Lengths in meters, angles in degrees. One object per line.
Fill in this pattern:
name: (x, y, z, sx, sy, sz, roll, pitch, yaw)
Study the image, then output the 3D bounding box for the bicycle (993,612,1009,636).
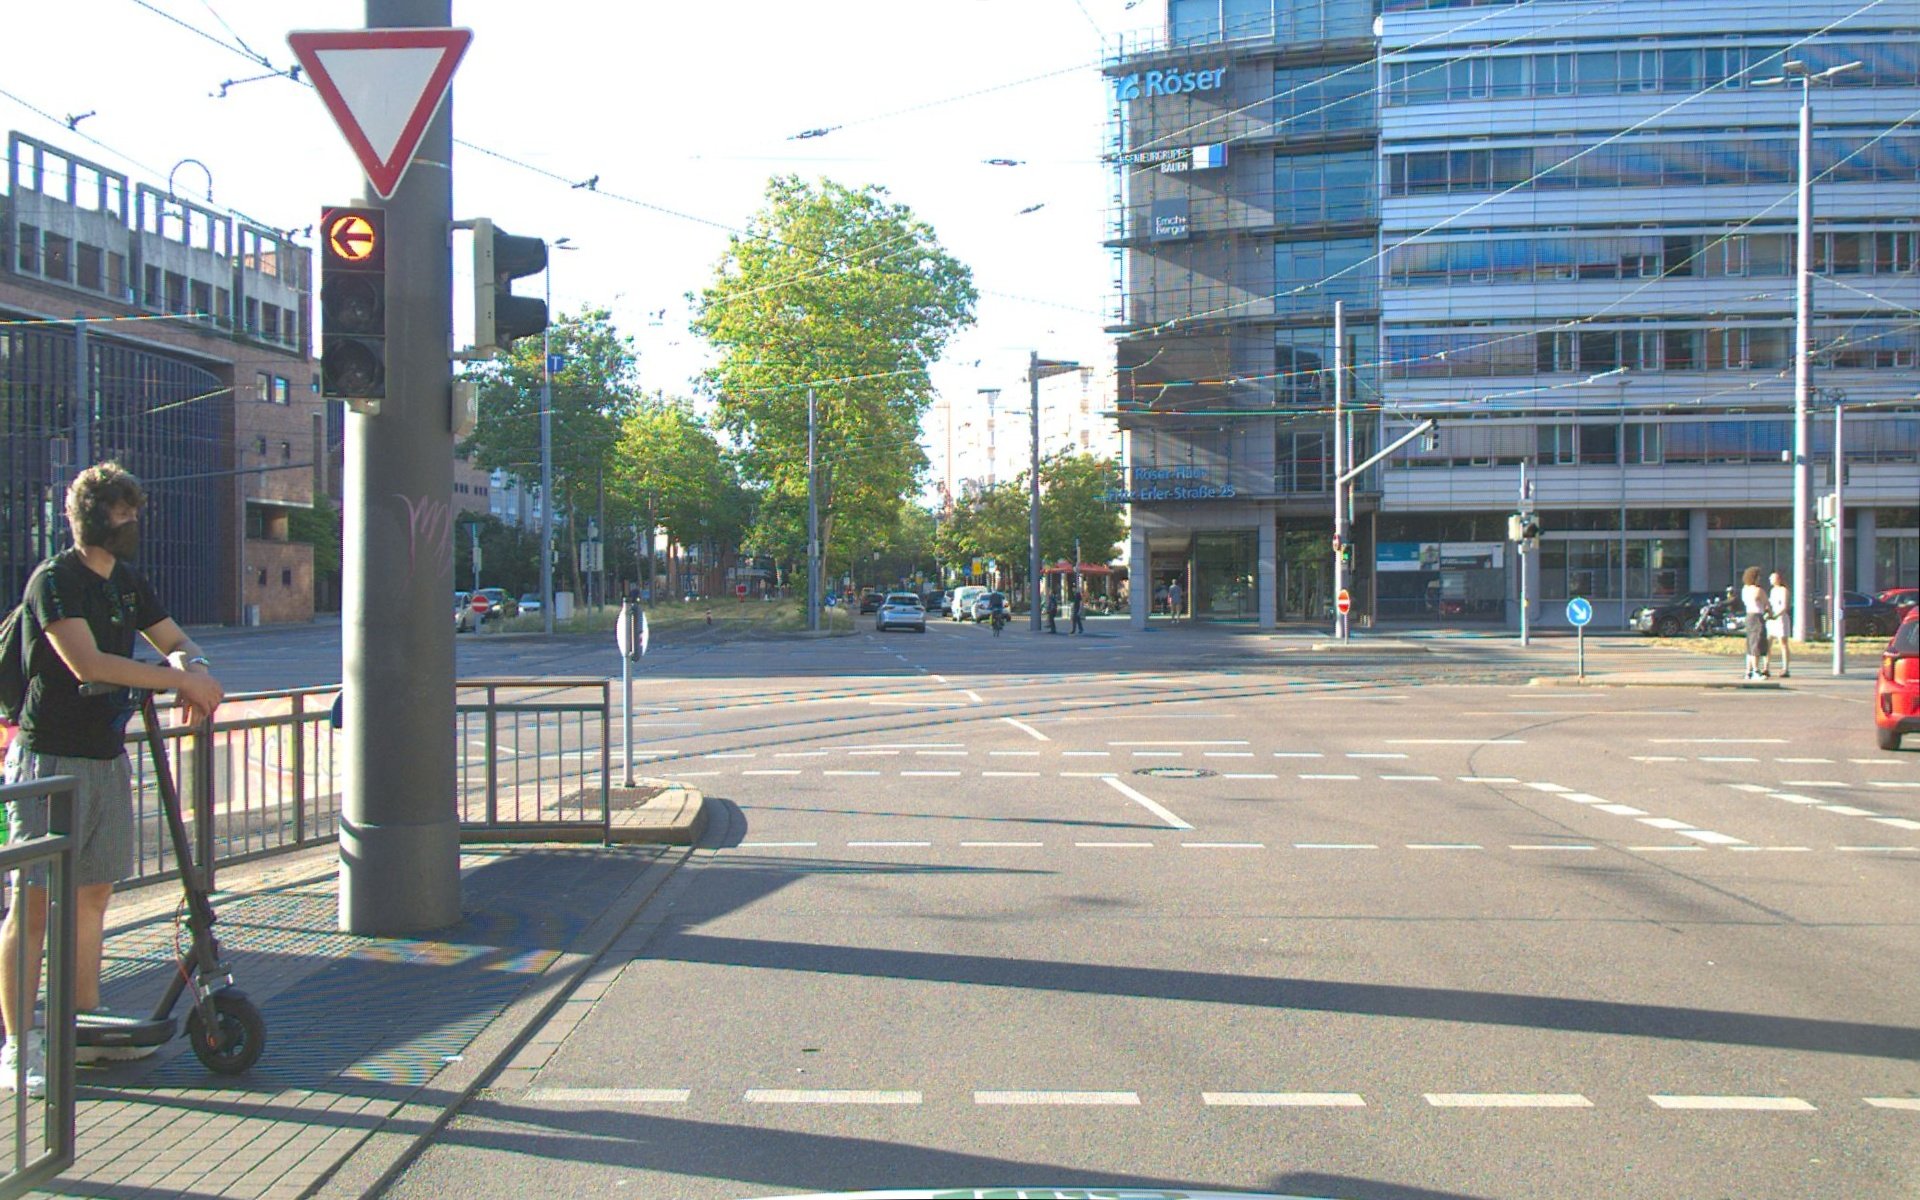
bicycle: (1.443, 0.845, 58.883, 0.481, 0.802, 1.861, 1, 0, -1)

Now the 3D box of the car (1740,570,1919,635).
car: (24.796, 0.060, 47.216, 4.165, 1.753, 1.885, -1, 0, 2)

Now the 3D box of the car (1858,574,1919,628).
car: (29.420, 0.067, 49.660, 3.903, 1.579, 1.798, 1, 0, 4)

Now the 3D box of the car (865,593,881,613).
car: (-11.839, 0.388, 225.001, 1.952, 2.049, 3.999, 1, -9, 0)

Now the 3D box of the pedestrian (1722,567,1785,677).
pedestrian: (13.129, 0.351, 27.370, 0.733, 1.789, 0.671, -1, 0, -35)

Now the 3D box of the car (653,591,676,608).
car: (-33.288, -0.041, 186.602, 1.871, 1.814, 3.999, -1, 0, -1)

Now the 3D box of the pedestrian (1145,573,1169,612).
pedestrian: (11.352, -0.445, 95.291, 1.285, 2.228, 1.171, 1, -1, 5)

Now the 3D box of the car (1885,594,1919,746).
car: (10.785, 0.696, 17.363, 1.465, 1.485, 3.583, 1, 0, 36)

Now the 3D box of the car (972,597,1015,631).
car: (1.664, 0.690, 82.810, 1.988, 1.624, 3.999, 1, 0, -1)

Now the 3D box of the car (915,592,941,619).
car: (-2.421, 0.432, 126.641, 1.953, 2.049, 3.999, 1, 0, -1)

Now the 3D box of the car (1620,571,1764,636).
car: (24.285, 0.114, 54.956, 3.906, 2.049, 2.000, 1, 0, -1)

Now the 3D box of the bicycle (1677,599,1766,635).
bicycle: (22.936, 0.505, 49.843, 2.359, 1.040, 0.637, -1, 0, 4)

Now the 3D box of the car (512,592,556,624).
car: (-22.088, 0.415, 85.905, 1.644, 1.635, 3.994, 1, 0, -7)

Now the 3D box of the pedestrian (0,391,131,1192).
pedestrian: (-2.865, 0.462, 4.102, 1.143, 1.917, 0.854, -1, 0, 4)

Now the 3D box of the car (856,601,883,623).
car: (-6.096, 0.772, 110.782, 1.729, 1.429, 4.292, 0, 0, -5)

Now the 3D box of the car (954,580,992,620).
car: (0.695, 0.003, 89.644, 1.953, 2.049, 3.999, 1, 0, -1)

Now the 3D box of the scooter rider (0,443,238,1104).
scooter rider: (-2.661, 0.502, 5.085, 0.554, 1.885, 0.680, -1, -2, 4)

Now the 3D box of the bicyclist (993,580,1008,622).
bicyclist: (1.453, 0.045, 58.772, 0.477, 1.464, 0.615, 1, 0, -1)

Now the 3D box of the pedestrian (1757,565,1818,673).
pedestrian: (13.924, 0.323, 27.853, 0.723, 1.789, 0.686, -1, 0, 8)

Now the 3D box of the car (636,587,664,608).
car: (-30.795, -0.270, 164.293, 1.837, 2.049, 4.472, -1, 0, 2)

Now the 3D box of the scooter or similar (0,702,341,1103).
scooter or similar: (-2.623, 0.891, 5.076, 1.177, 1.100, 0.648, -1, 0, 3)

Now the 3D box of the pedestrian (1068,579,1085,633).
pedestrian: (4.417, 0.233, 62.741, 0.574, 2.049, 0.620, 1, -1, 0)

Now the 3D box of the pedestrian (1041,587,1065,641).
pedestrian: (3.621, 0.535, 64.232, 0.832, 2.049, 0.707, 1, -1, -3)

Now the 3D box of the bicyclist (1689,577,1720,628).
bicyclist: (22.444, 0.069, 49.862, 0.649, 1.529, 0.613, -1, 0, 4)

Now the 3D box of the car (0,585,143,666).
car: (-21.174, 0.573, 39.407, 1.832, 1.793, 3.993, 1, 0, -8)

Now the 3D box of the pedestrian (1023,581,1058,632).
pedestrian: (3.199, 0.262, 66.115, 1.315, 1.984, 1.011, 0, 0, -1)

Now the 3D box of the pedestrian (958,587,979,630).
pedestrian: (0.347, 0.357, 68.139, 0.852, 1.737, 0.793, 1, -1, -1)

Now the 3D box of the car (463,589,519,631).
car: (-21.059, 0.419, 74.351, 1.787, 1.821, 3.994, -1, 0, -7)

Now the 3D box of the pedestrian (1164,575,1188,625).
pedestrian: (8.891, -0.004, 68.153, 0.852, 2.049, 0.793, 1, -2, -1)

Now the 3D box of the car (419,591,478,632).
car: (-20.671, 0.443, 66.967, 1.591, 1.604, 3.994, -1, 0, -7)

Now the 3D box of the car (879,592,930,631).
car: (-2.092, 0.410, 63.022, 1.712, 1.443, 4.001, 0, 0, 1)
